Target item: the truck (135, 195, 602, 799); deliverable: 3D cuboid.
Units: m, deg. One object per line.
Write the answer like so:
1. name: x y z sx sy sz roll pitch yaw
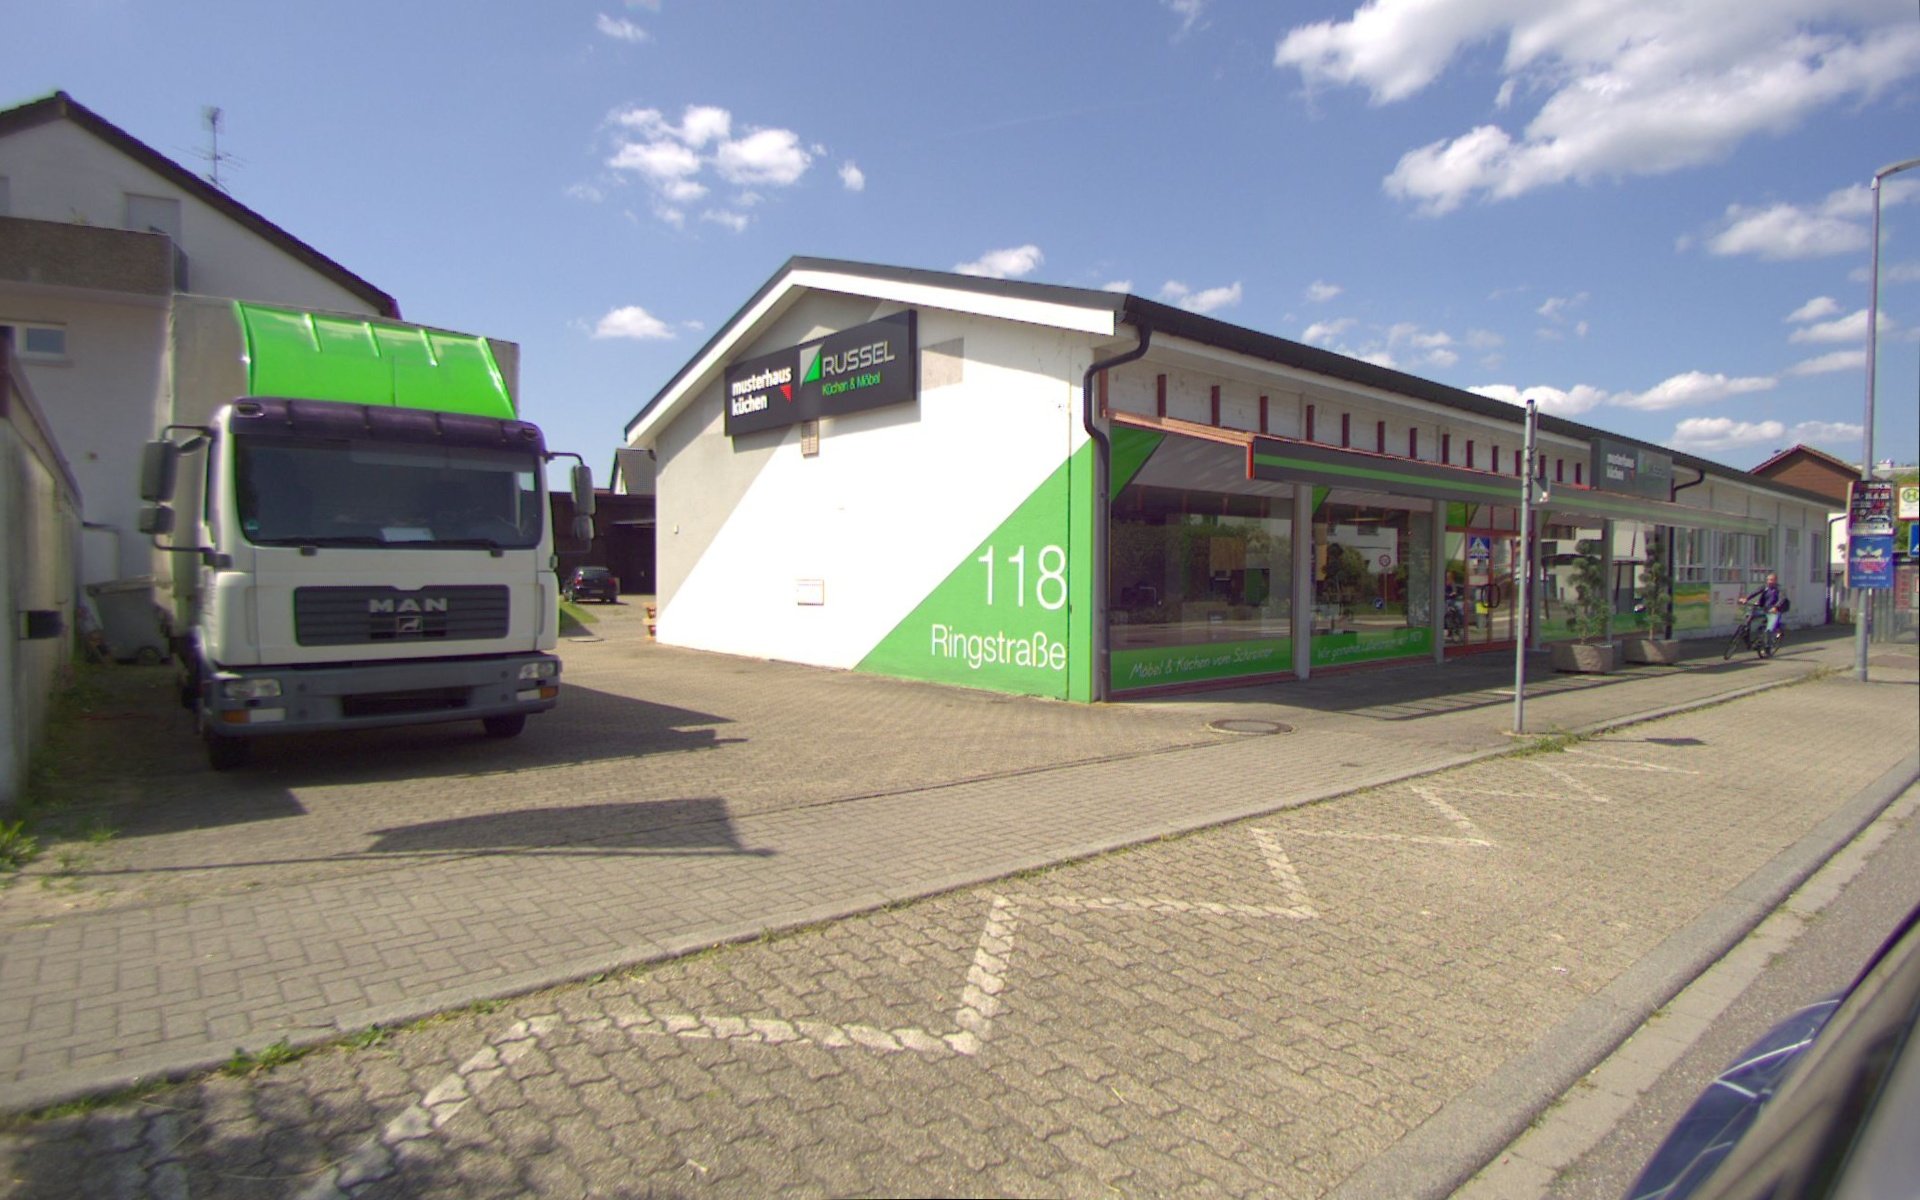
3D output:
1. truck: -6.405 -0.719 10.069 2.631 3.616 8.187 -2 2 -40

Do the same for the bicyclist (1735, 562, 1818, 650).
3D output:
1. bicyclist: 15.851 0.088 19.654 1.088 1.649 0.807 -1 2 -25

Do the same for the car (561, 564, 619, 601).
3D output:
1. car: -14.511 -0.704 39.573 1.823 1.378 4.008 0 2 -24

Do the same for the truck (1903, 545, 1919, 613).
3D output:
1. truck: 42.091 -0.868 43.162 2.573 2.795 6.235 4 3 43

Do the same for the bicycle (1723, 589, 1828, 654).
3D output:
1. bicycle: 15.892 0.398 19.717 1.903 1.179 0.807 -1 3 -25
